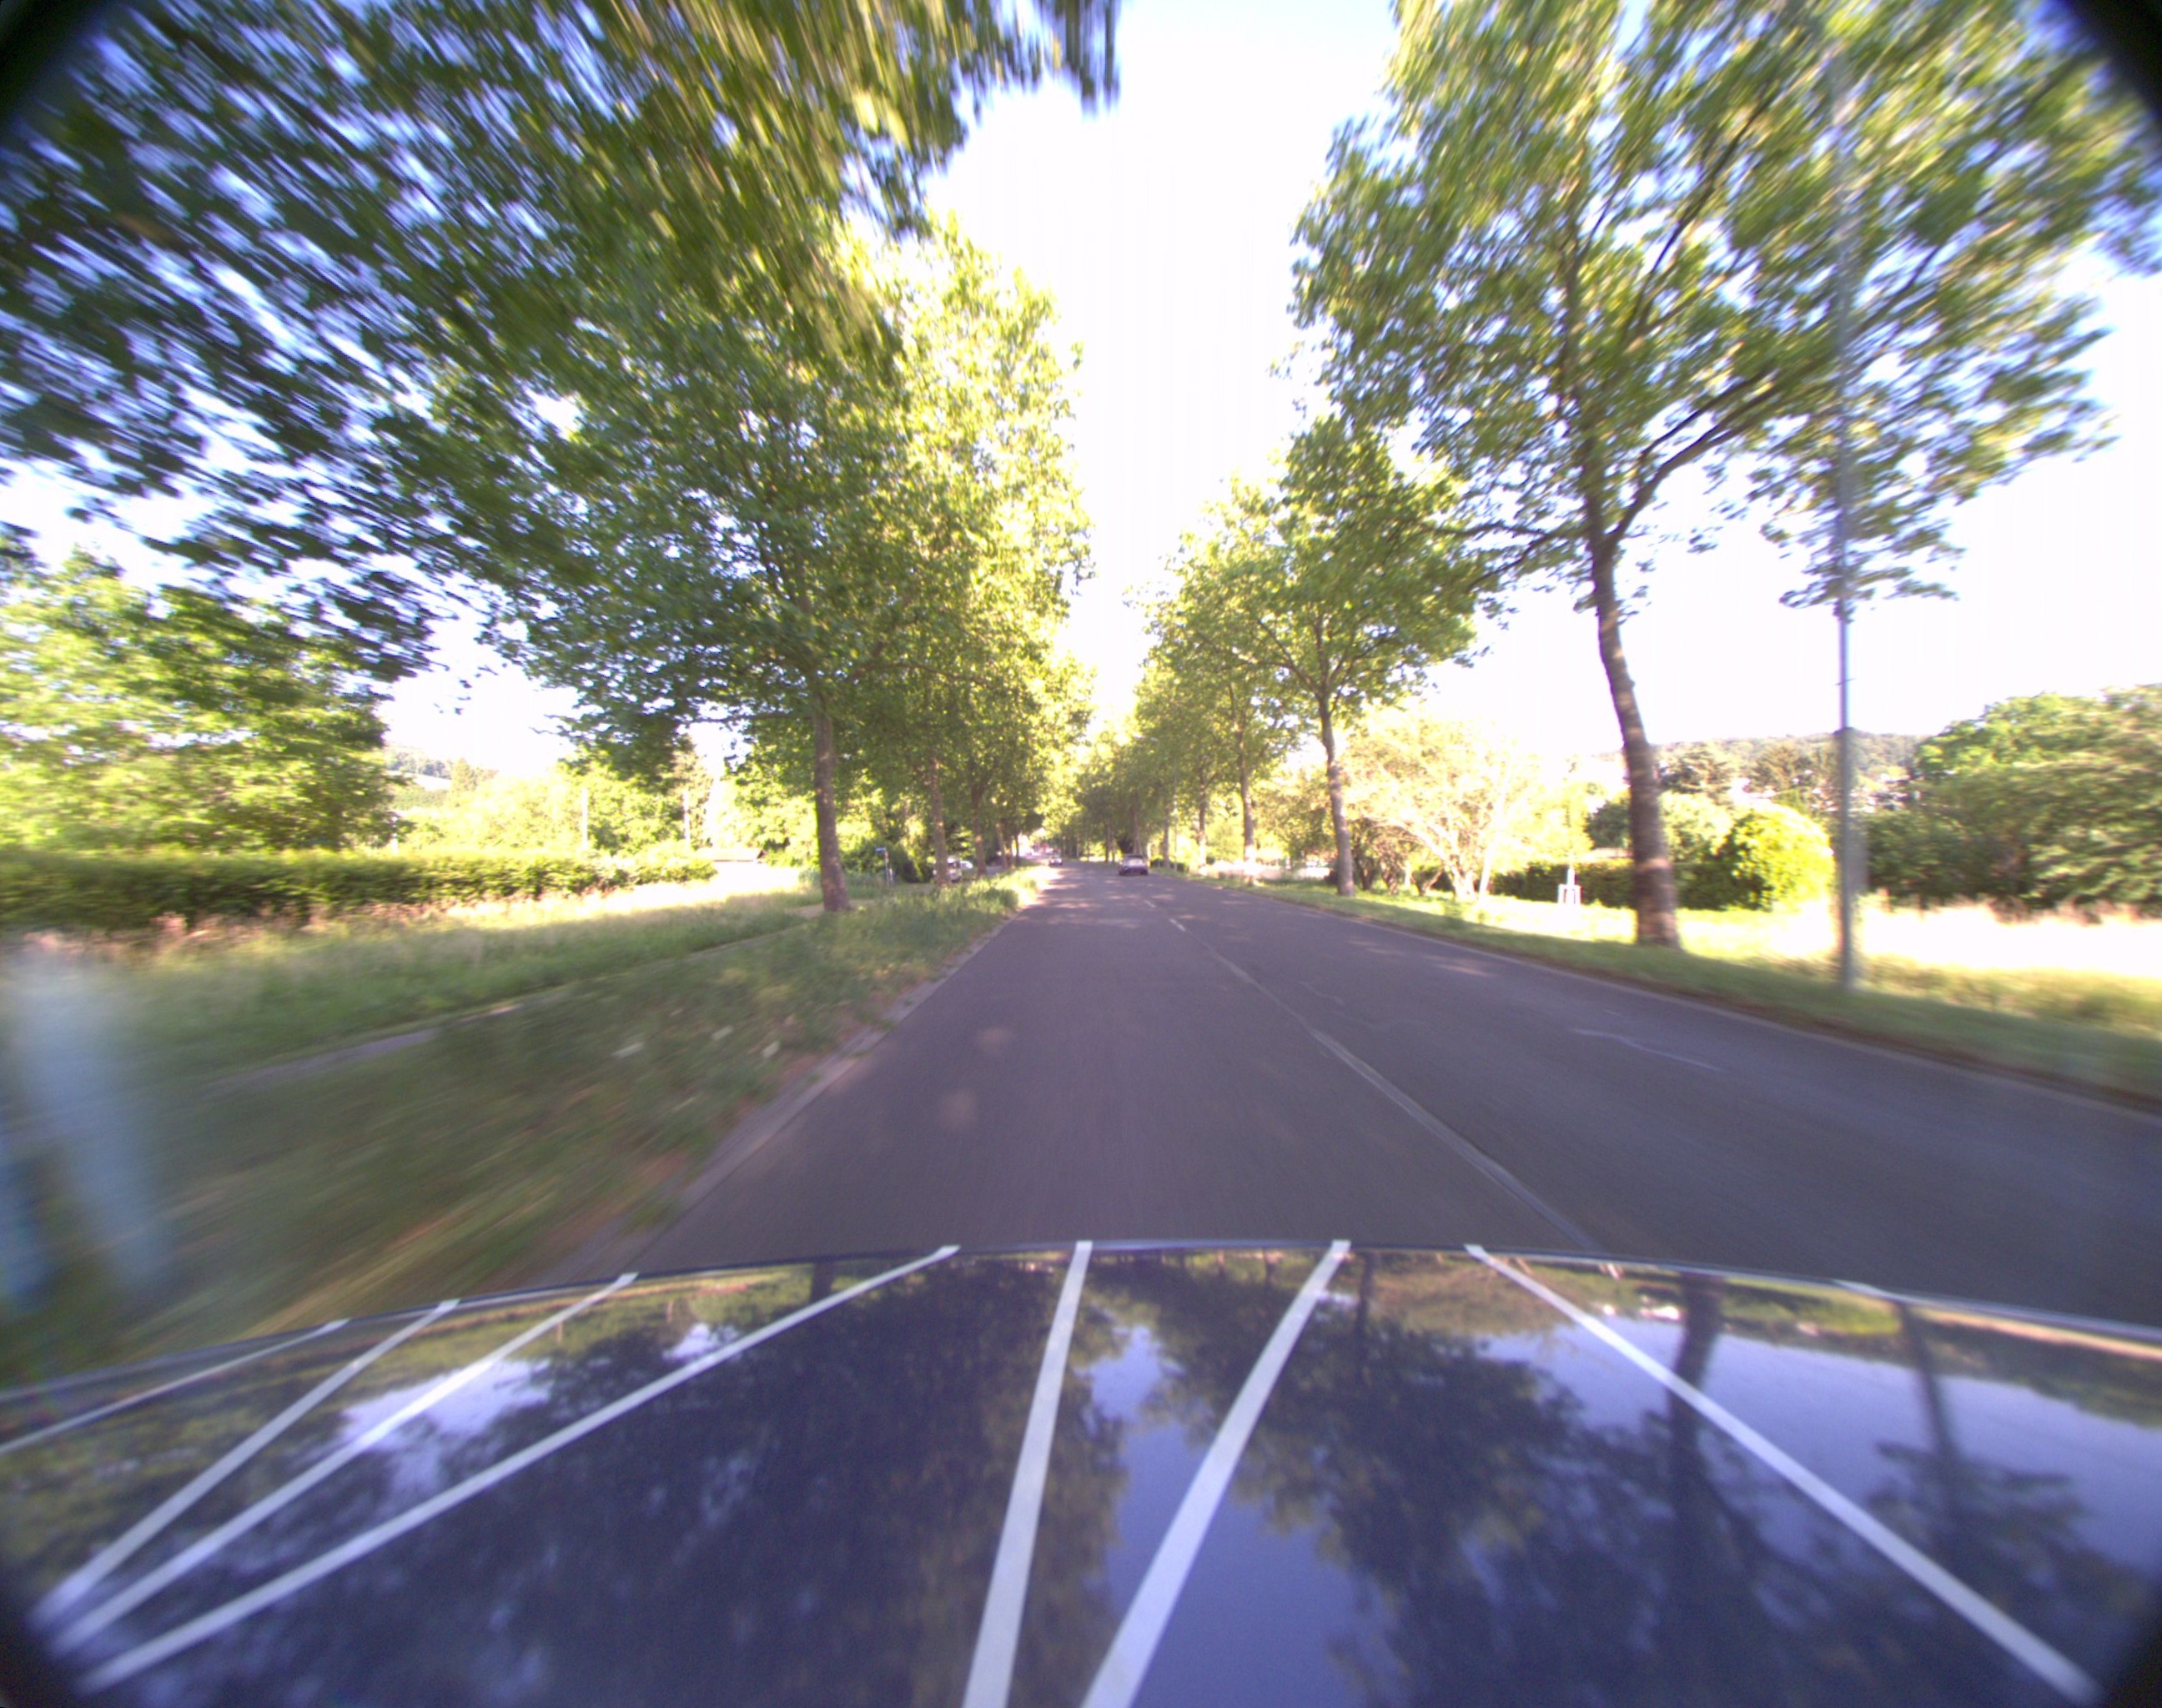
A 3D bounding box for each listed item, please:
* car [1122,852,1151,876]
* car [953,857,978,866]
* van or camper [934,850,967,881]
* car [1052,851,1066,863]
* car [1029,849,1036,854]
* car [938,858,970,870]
[{"bbox_3d":[3.829,0.645,53.149,1.720,1.496,3.999,-2,1,0],"label":"car"},{"bbox_3d":[-20.209,1.276,132.882,3.996,1.378,2.000,-2,1,4],"label":"car"},{"bbox_3d":[-12.849,1.075,75.329,2.387,2.784,5.683,-2,1,-2],"label":"van or camper"},{"bbox_3d":[-3.298,0.389,112.432,1.999,1.655,3.999,-2,1,-2],"label":"car"},{"bbox_3d":[-14.589,-0.702,228.056,1.870,1.421,3.999,1,0,-1],"label":"car"},{"bbox_3d":[-20.173,1.562,120.909,4.511,1.660,2.000,-2,1,4],"label":"car"}]
